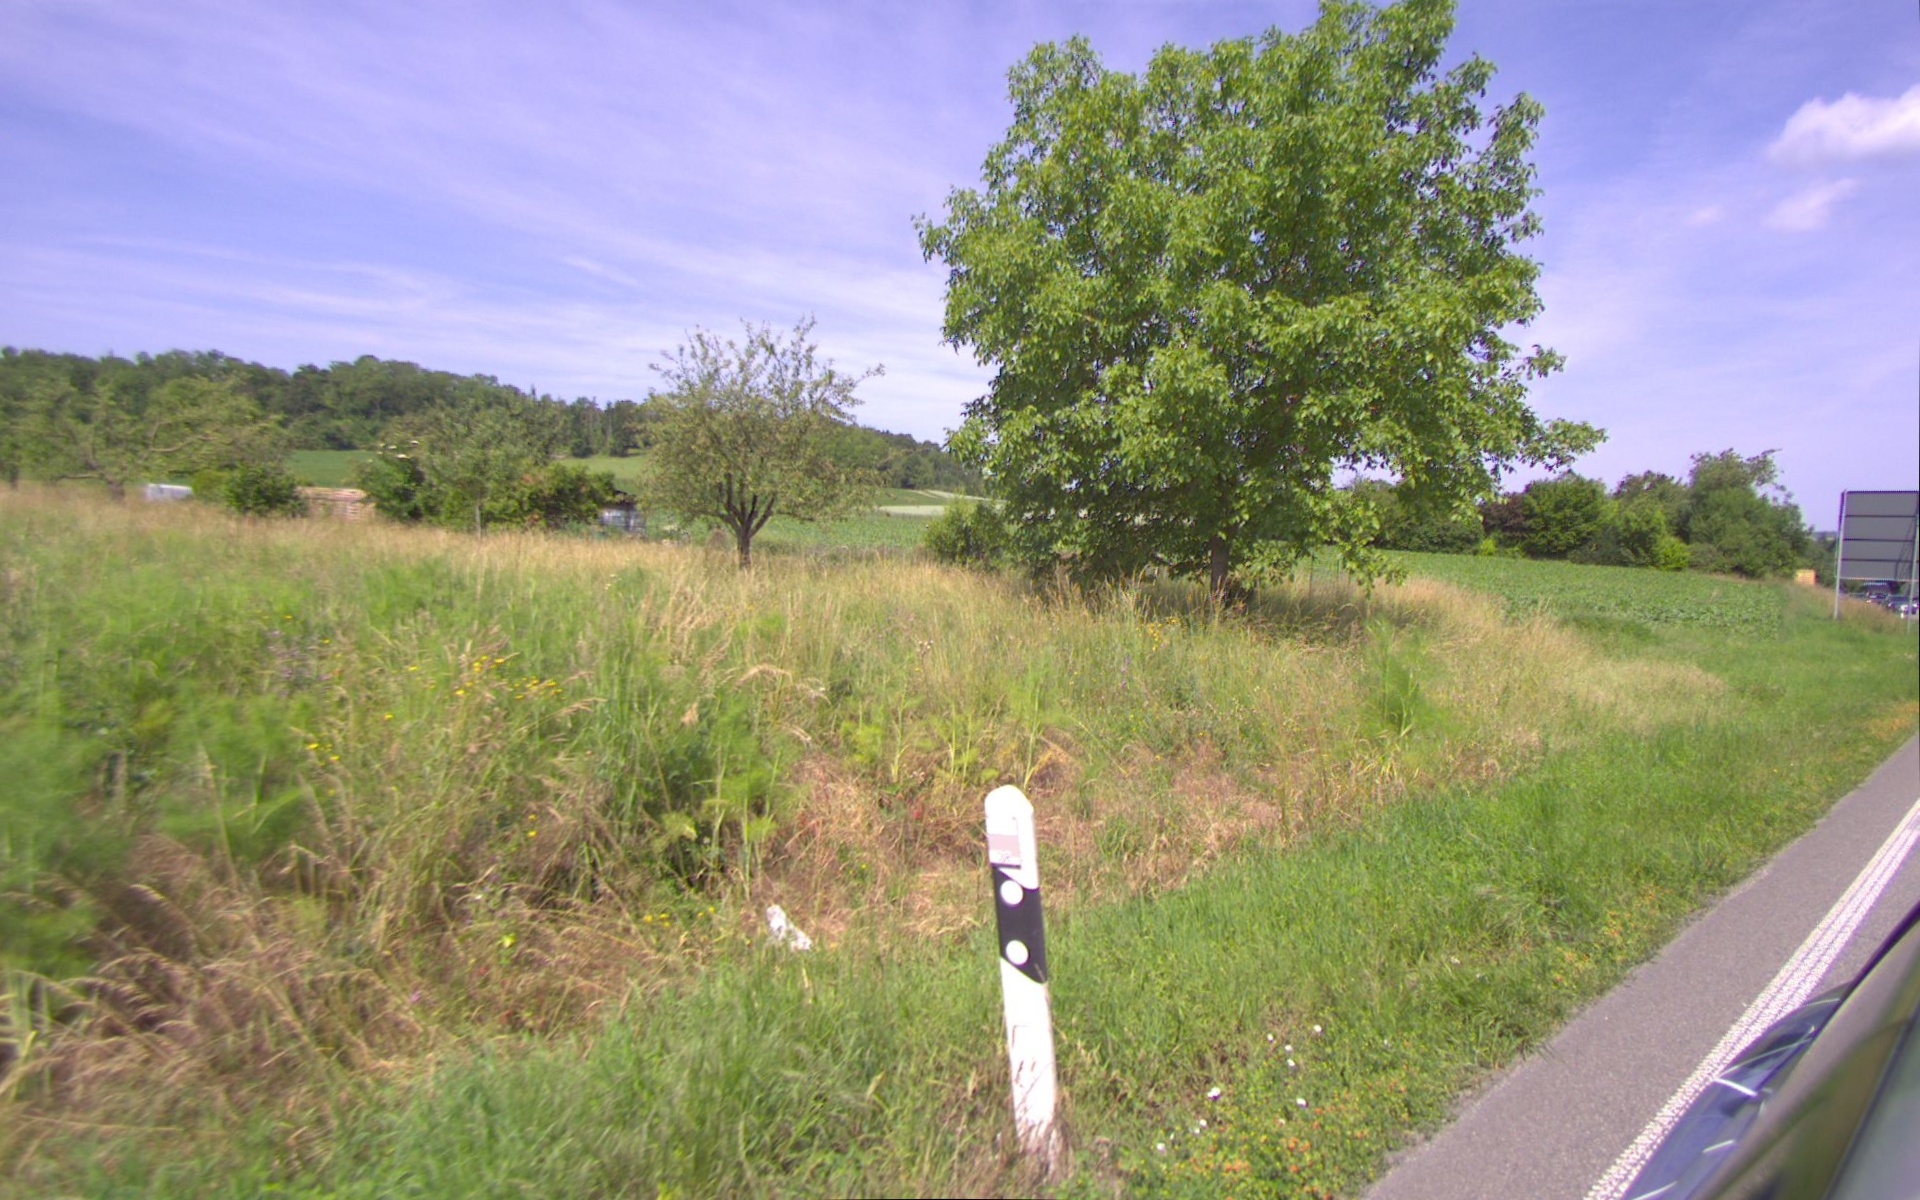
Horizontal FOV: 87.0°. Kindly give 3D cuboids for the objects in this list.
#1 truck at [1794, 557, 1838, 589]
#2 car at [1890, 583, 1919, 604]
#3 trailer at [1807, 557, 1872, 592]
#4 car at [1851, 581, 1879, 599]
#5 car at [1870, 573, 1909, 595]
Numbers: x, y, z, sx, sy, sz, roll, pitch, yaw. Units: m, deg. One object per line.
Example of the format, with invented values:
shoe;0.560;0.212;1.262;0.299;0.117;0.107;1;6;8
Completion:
truck;116.337;-3.686;137.602;2.788;4.115;5.936;5;4;25
car;74.667;-0.516;79.491;1.815;1.538;3.950;3;3;35
trailer;112.542;-3.336;129.772;2.979;4.091;12.798;5;4;27
car;87.138;-0.981;97.443;1.658;1.670;3.946;3;3;38
car;102.409;-1.798;111.590;2.162;2.331;4.852;3;3;32
